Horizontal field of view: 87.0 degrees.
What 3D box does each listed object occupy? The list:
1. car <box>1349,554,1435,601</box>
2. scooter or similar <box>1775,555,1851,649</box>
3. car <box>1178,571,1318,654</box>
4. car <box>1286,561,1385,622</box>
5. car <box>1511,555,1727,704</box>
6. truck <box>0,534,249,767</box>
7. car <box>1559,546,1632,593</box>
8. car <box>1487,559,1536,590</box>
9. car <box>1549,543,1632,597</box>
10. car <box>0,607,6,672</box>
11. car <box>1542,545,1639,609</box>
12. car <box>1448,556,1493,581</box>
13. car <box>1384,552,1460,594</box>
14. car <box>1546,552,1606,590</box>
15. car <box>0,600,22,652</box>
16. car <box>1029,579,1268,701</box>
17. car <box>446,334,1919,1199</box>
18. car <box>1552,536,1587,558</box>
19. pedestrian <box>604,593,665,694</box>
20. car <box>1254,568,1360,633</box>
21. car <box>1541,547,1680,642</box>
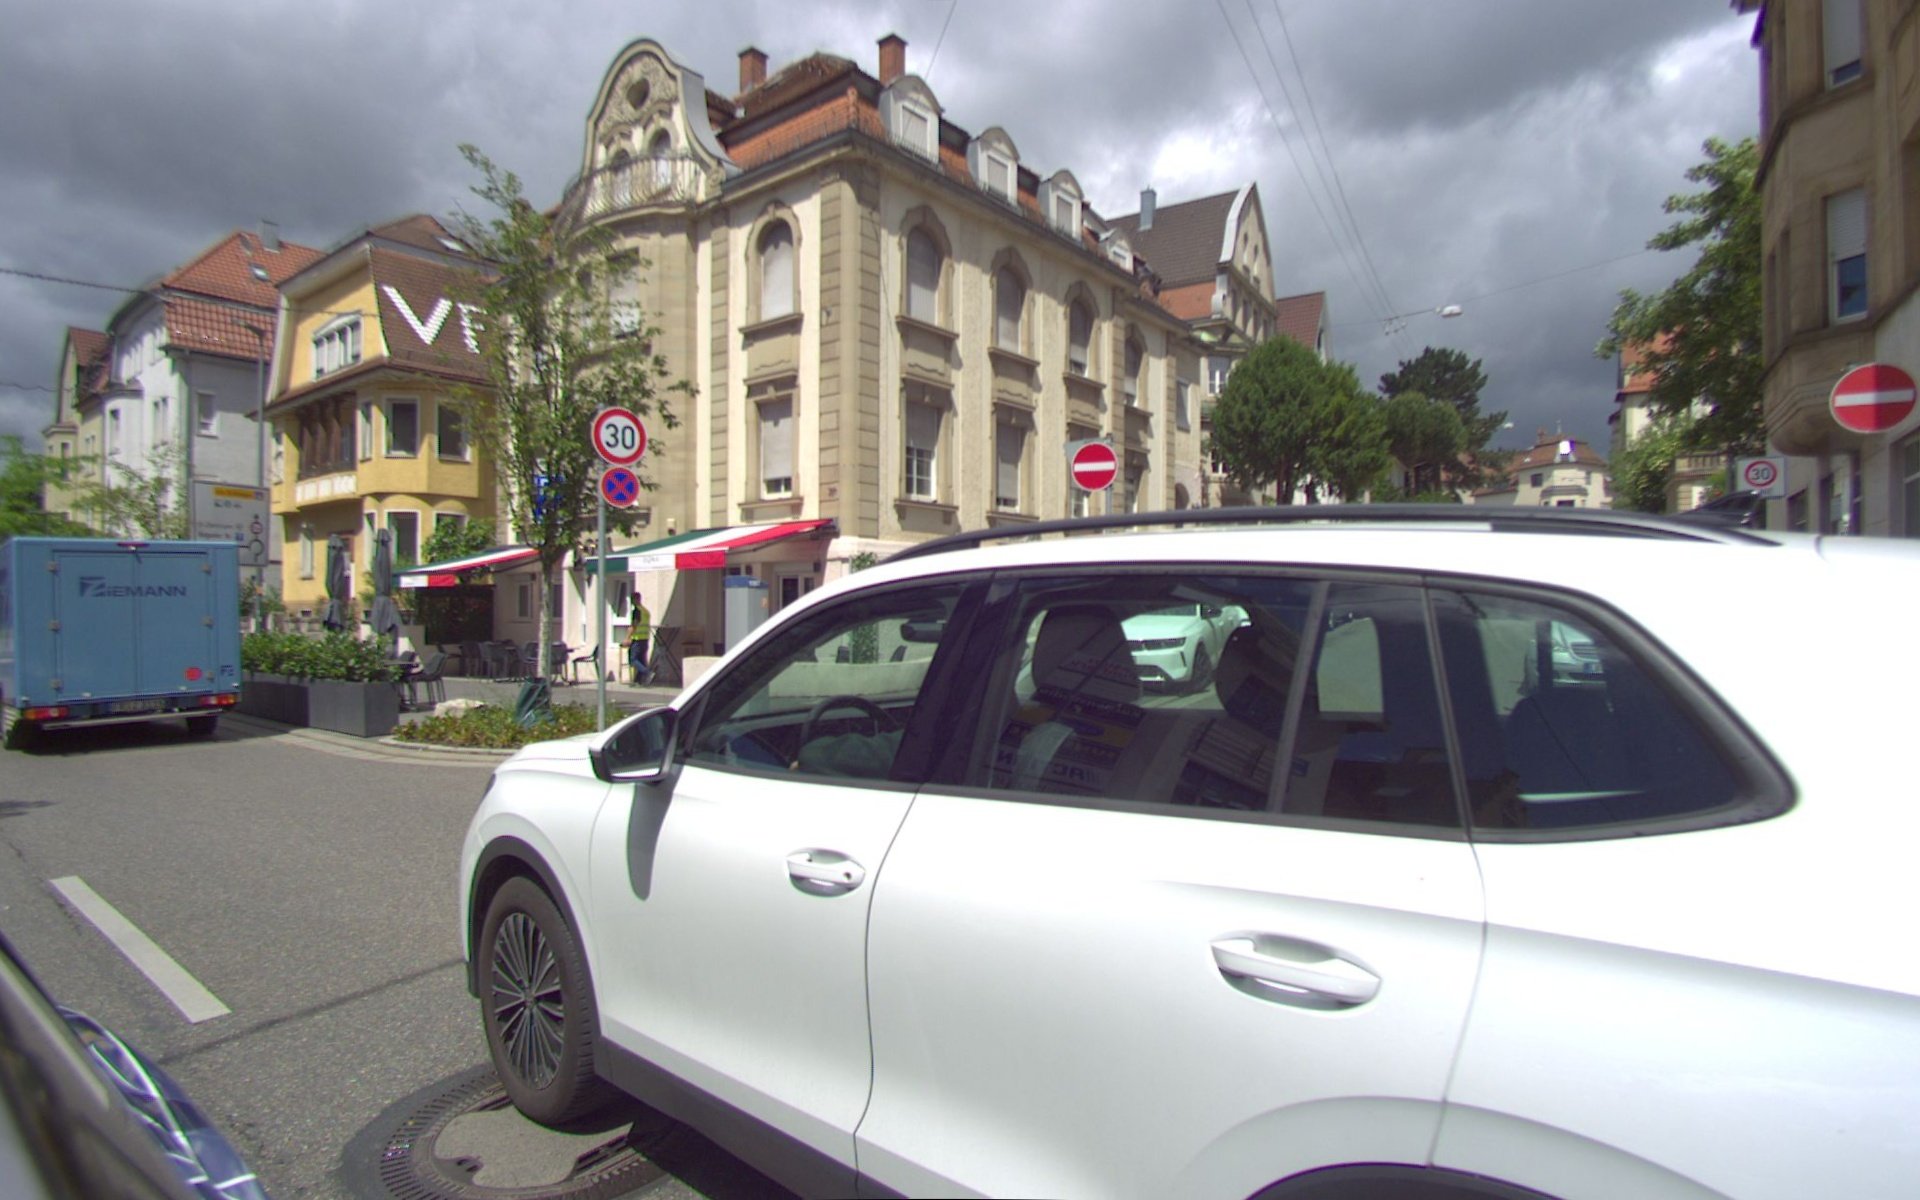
[{"bbox_3d":[15.367,-0.826,35.875,1.828,1.564,4.181,-1,2,37],"label":"car"},{"bbox_3d":[13.210,0.007,15.715,0.618,1.365,1.900,-1,1,32],"label":"scooter or similar"},{"bbox_3d":[5.726,0.177,19.779,1.823,1.391,4.194,-1,2,27],"label":"car"},{"bbox_3d":[10.585,-0.264,28.377,1.849,1.555,3.957,-2,0,31],"label":"car"},{"bbox_3d":[8.486,0.244,12.983,1.996,1.573,4.168,-1,2,35],"label":"car"},{"bbox_3d":[-11.269,0.497,13.033,6.475,2.322,2.084,-1,1,42],"label":"truck"},{"bbox_3d":[23.042,-1.123,36.608,1.996,1.573,4.168,-1,2,35],"label":"car"},{"bbox_3d":[29.945,-1.405,54.898,1.994,1.573,4.171,-1,2,33],"label":"car"},{"bbox_3d":[20.264,-0.979,32.470,1.996,1.573,4.168,-1,2,35],"label":"car"},{"bbox_3d":[-31.110,1.269,31.370,5.175,1.948,1.851,-3,-2,42],"label":"car"},{"bbox_3d":[17.177,-0.643,27.481,1.996,1.573,4.168,-1,2,35],"label":"car"},{"bbox_3d":[32.808,-2.040,65.017,1.828,1.564,4.181,-1,2,37],"label":"car"},{"bbox_3d":[18.182,-1.077,39.726,1.828,1.564,4.181,-1,2,37],"label":"car"},{"bbox_3d":[27.515,-1.296,45.137,1.996,1.573,4.168,-1,2,35],"label":"car"},{"bbox_3d":[-53.765,1.429,55.421,7.257,2.692,2.282,-1,1,37],"label":"car"},{"bbox_3d":[2.856,0.450,14.503,1.993,1.391,4.343,-1,2,31],"label":"car"},{"bbox_3d":[0.507,0.586,2.397,4.116,1.652,1.768,-1,1,43],"label":"car"},{"bbox_3d":[46.121,-3.990,76.546,1.996,1.573,4.168,-1,2,35],"label":"car"},{"bbox_3d":[-5.859,0.769,18.257,0.801,1.769,0.801,-1,1,1],"label":"pedestrian"},{"bbox_3d":[8.479,-0.034,24.532,1.823,1.391,4.194,-1,2,27],"label":"car"},{"bbox_3d":[12.352,-0.156,19.111,1.996,1.573,4.168,-1,2,35],"label":"car"}]
